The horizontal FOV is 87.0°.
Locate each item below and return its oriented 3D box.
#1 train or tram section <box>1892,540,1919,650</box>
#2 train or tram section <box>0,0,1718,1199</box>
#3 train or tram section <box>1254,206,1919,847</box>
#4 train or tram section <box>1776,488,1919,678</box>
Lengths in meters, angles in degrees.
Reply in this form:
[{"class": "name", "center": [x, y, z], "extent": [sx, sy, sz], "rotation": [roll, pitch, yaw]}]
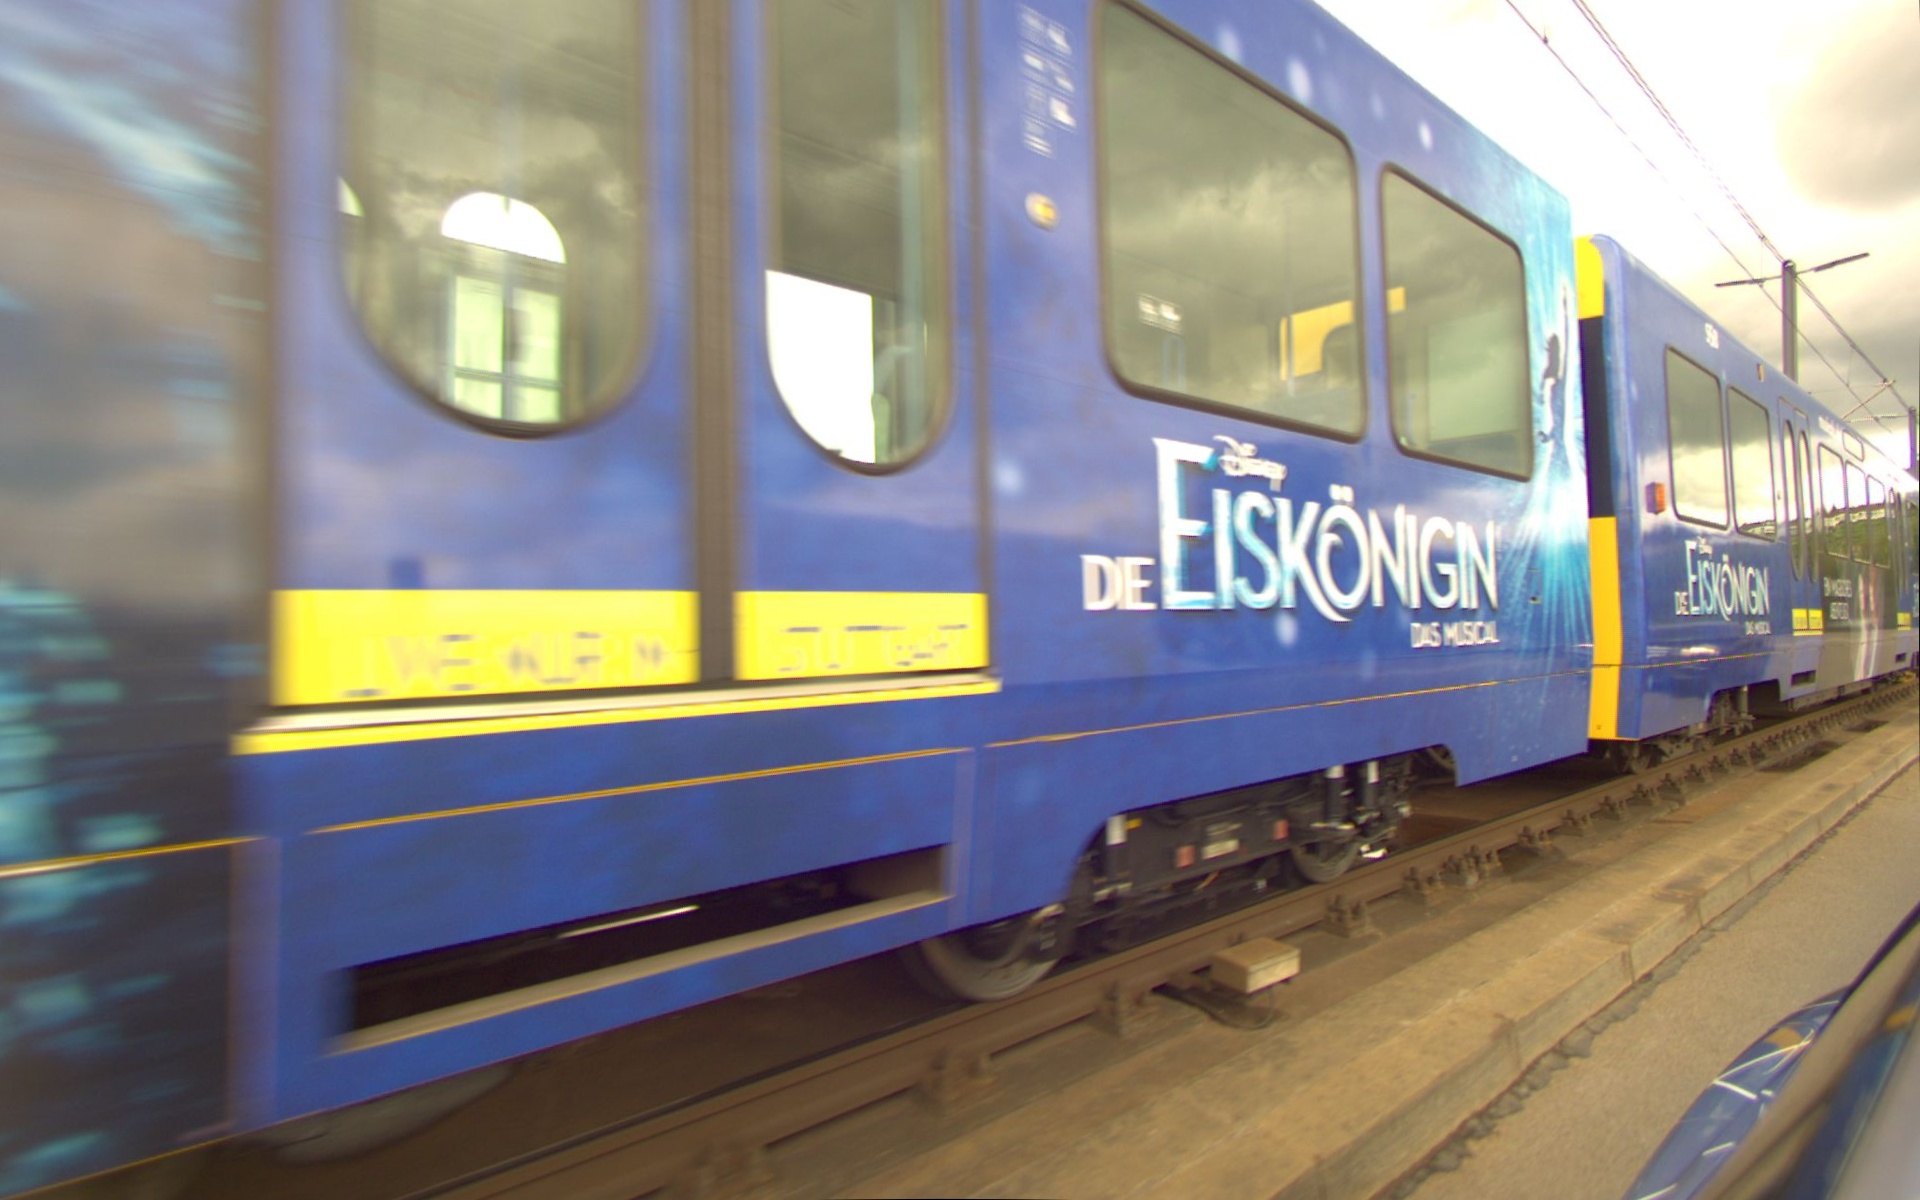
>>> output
[{"class": "train or tram section", "center": [38.435, -0.043, 38.229], "extent": [18.342, 3.553, 2.887], "rotation": [1, 1, -42]}, {"class": "train or tram section", "center": [-3.889, -0.441, 0.668], "extent": [19.542, 3.812, 2.798], "rotation": [0, -1, -41]}, {"class": "train or tram section", "center": [10.554, -0.460, 13.405], "extent": [19.548, 3.701, 2.789], "rotation": [0, 1, -42]}, {"class": "train or tram section", "center": [24.706, -0.250, 25.996], "extent": [18.342, 3.625, 2.834], "rotation": [1, 1, -42]}]
